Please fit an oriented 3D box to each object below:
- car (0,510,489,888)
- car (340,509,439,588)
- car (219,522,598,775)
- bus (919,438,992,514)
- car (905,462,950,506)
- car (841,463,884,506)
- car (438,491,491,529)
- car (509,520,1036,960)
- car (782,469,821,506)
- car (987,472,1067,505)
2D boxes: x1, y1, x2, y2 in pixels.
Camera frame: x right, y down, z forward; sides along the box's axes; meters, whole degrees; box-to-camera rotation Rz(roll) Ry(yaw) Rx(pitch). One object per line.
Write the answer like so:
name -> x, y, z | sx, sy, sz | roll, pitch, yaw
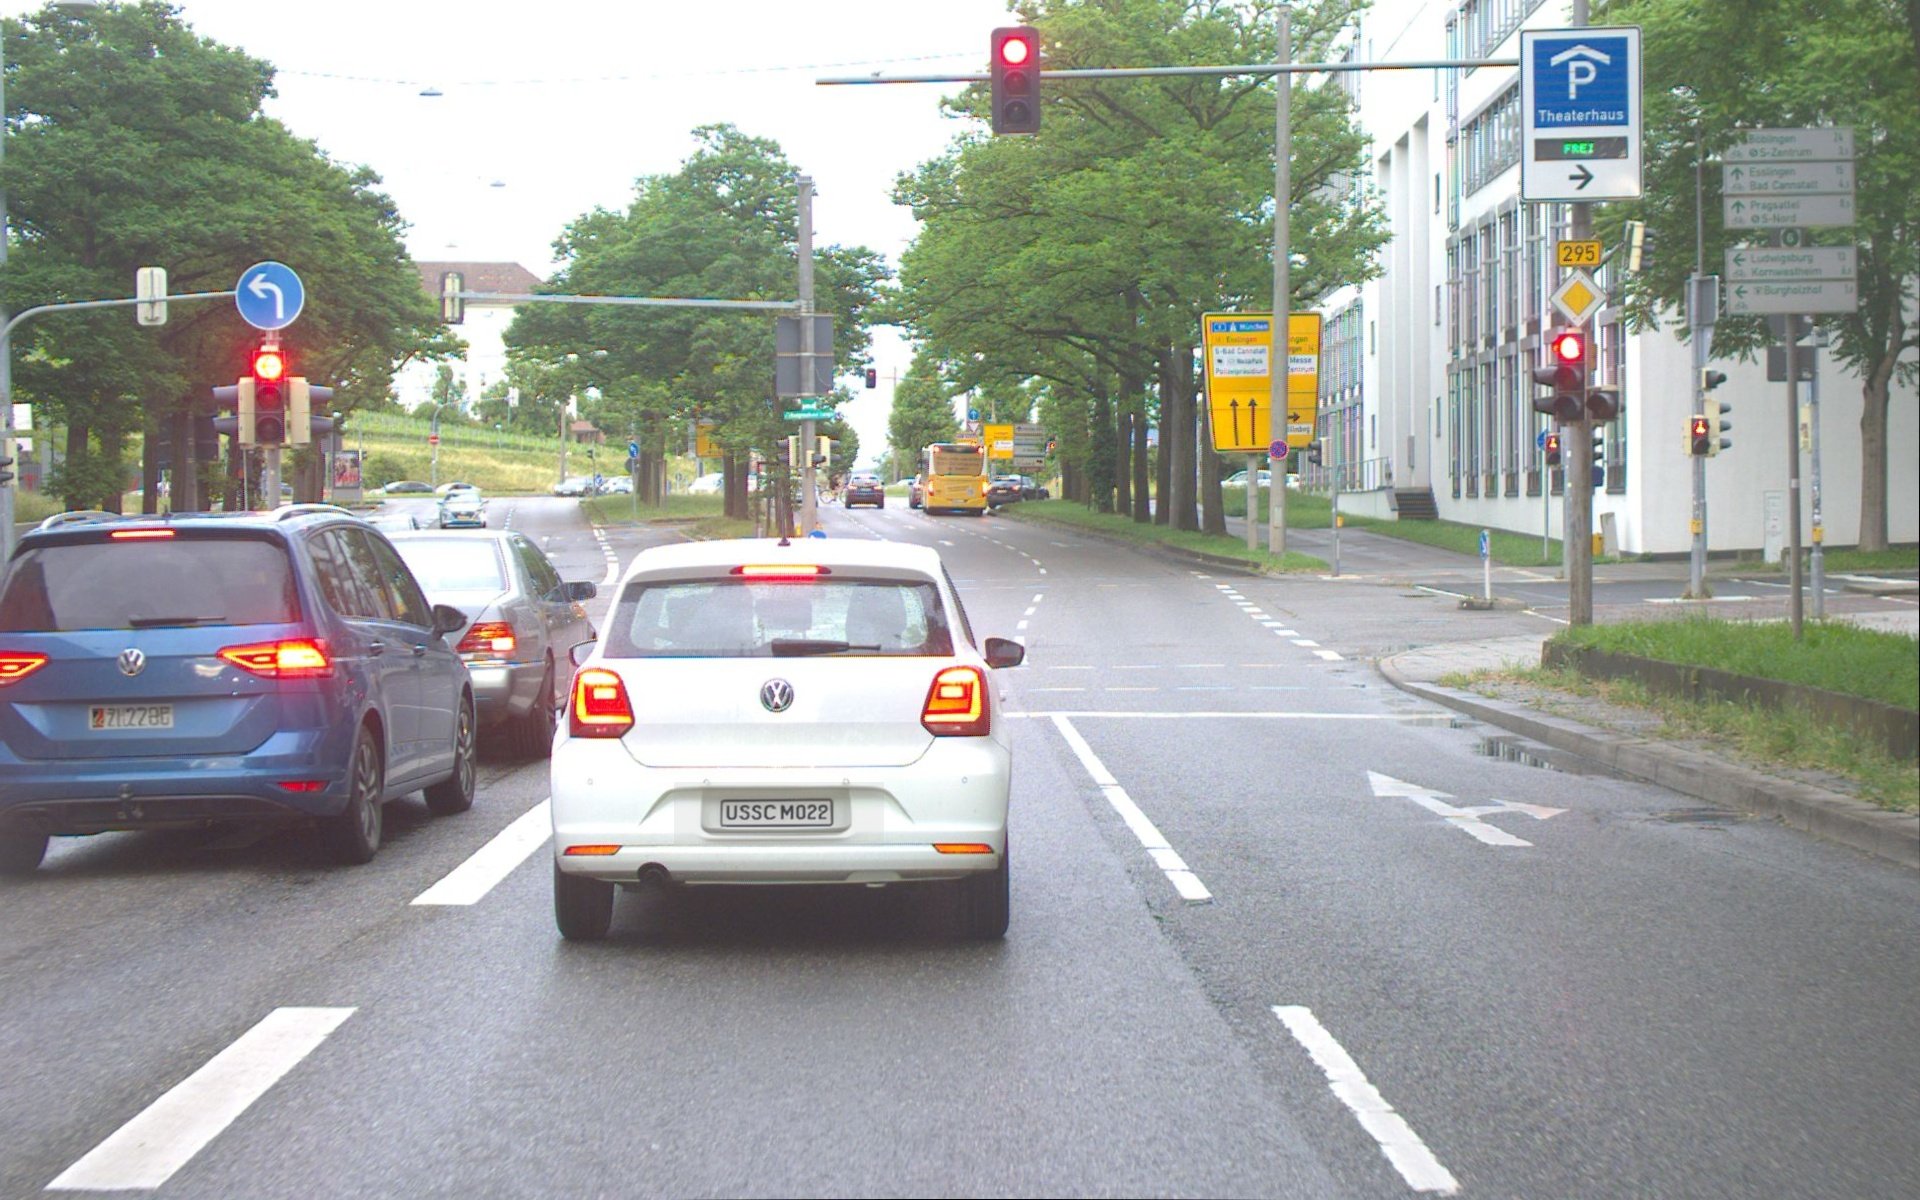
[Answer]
car -> -3.534, 0.377, 16.825 | 1.772, 1.591, 4.197 | -1, 1, 1
car -> -12.023, -1.109, 72.630 | 1.750, 1.515, 3.818 | -2, 2, -5
car -> -3.607, 0.254, 23.194 | 1.847, 1.505, 4.048 | -1, 1, 0
bus -> -0.259, -5.482, 151.311 | 2.828, 3.255, 10.002 | 0, 2, -2
car -> -1.578, -5.548, 164.634 | 1.993, 2.007, 4.001 | -1, 1, -2
car -> -4.662, -5.500, 164.010 | 1.993, 2.007, 4.001 | -1, 1, -2
car -> -19.714, -3.590, 136.920 | 1.814, 1.406, 4.657 | -2, 2, -5
car -> -0.679, 0.430, 13.731 | 1.794, 1.497, 4.000 | 0, 1, -1
car -> -7.645, -5.397, 165.494 | 1.794, 1.735, 4.001 | -2, 2, -3
car -> 3.195, -5.325, 163.843 | 1.699, 1.510, 3.818 | 0, 2, 43
